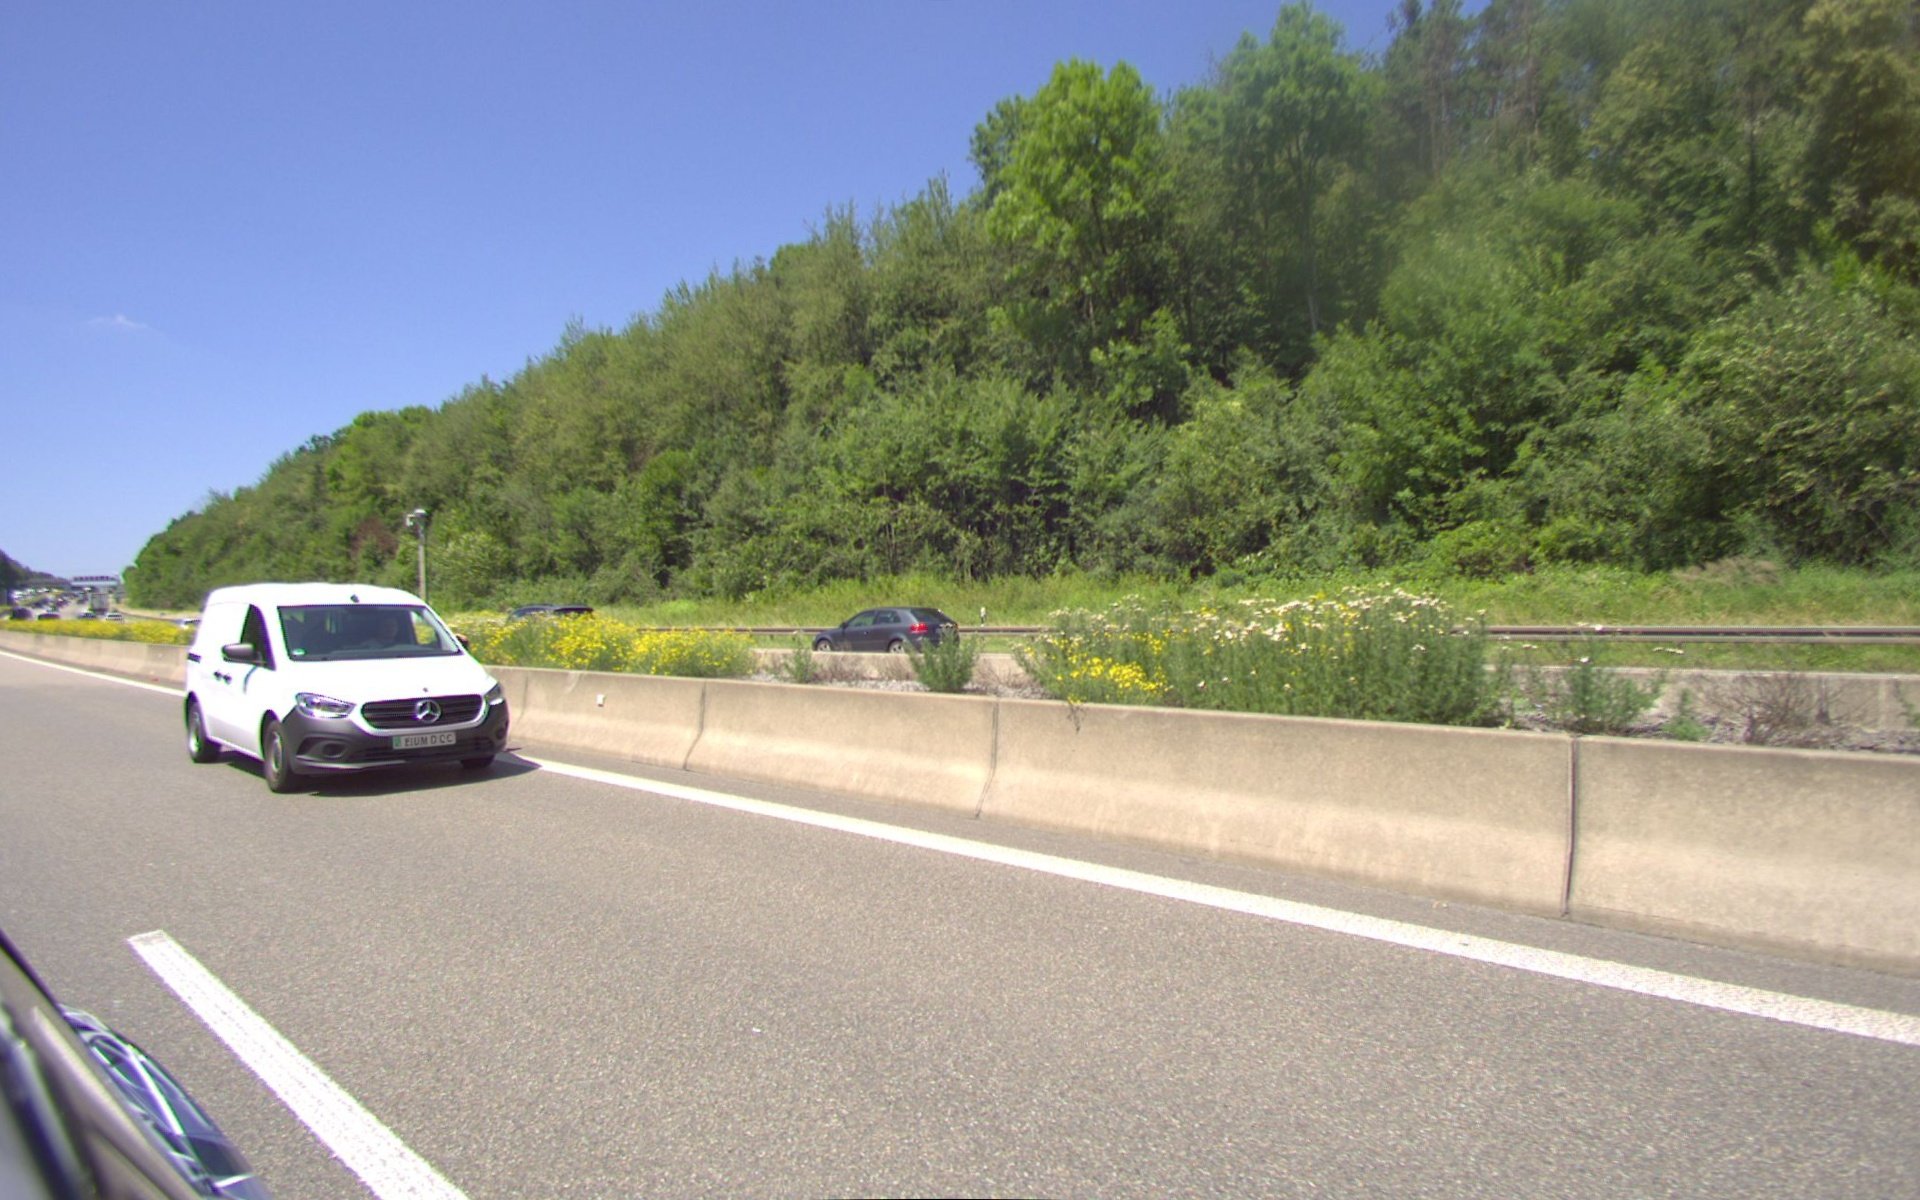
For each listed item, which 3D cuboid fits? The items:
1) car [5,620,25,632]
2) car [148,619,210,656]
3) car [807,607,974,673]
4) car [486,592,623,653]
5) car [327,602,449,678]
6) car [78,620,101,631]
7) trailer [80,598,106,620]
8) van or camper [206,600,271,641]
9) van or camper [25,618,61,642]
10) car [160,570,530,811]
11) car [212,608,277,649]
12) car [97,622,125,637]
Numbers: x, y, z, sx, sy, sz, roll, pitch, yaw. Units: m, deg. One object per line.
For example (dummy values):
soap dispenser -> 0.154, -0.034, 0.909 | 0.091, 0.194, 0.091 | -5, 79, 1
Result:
car -> -130.233, 3.602, 139.461 | 1.970, 1.484, 4.877 | 0, 0, -44
car -> -33.345, 1.562, 43.160 | 3.563, 1.453, 1.462 | 0, 0, 42
car -> -1.745, 0.902, 24.627 | 3.998, 1.467, 1.769 | 0, 0, 41
car -> -11.592, 0.599, 28.826 | 4.160, 1.602, 1.973 | 0, 0, 41
car -> -16.573, 1.084, 29.246 | 4.000, 2.029, 1.972 | 0, 0, 43
car -> -126.406, 3.719, 146.919 | 4.171, 1.453, 1.972 | 0, 0, 42
trailer -> -165.956, 1.702, 193.584 | 13.939, 4.239, 2.684 | 0, 0, 45
van or camper -> -48.222, 1.307, 67.526 | 6.931, 2.580, 2.162 | 0, 0, 43
van or camper -> -81.357, 2.617, 89.804 | 4.586, 2.029, 1.863 | 0, 0, 41
car -> -6.157, 0.729, 9.876 | 4.671, 1.826, 1.747 | -1, -1, 41
car -> -37.740, 1.445, 53.342 | 4.568, 2.029, 1.971 | 0, 0, 44
car -> -95.288, 3.354, 113.556 | 4.485, 1.629, 1.971 | -2, -1, 44
